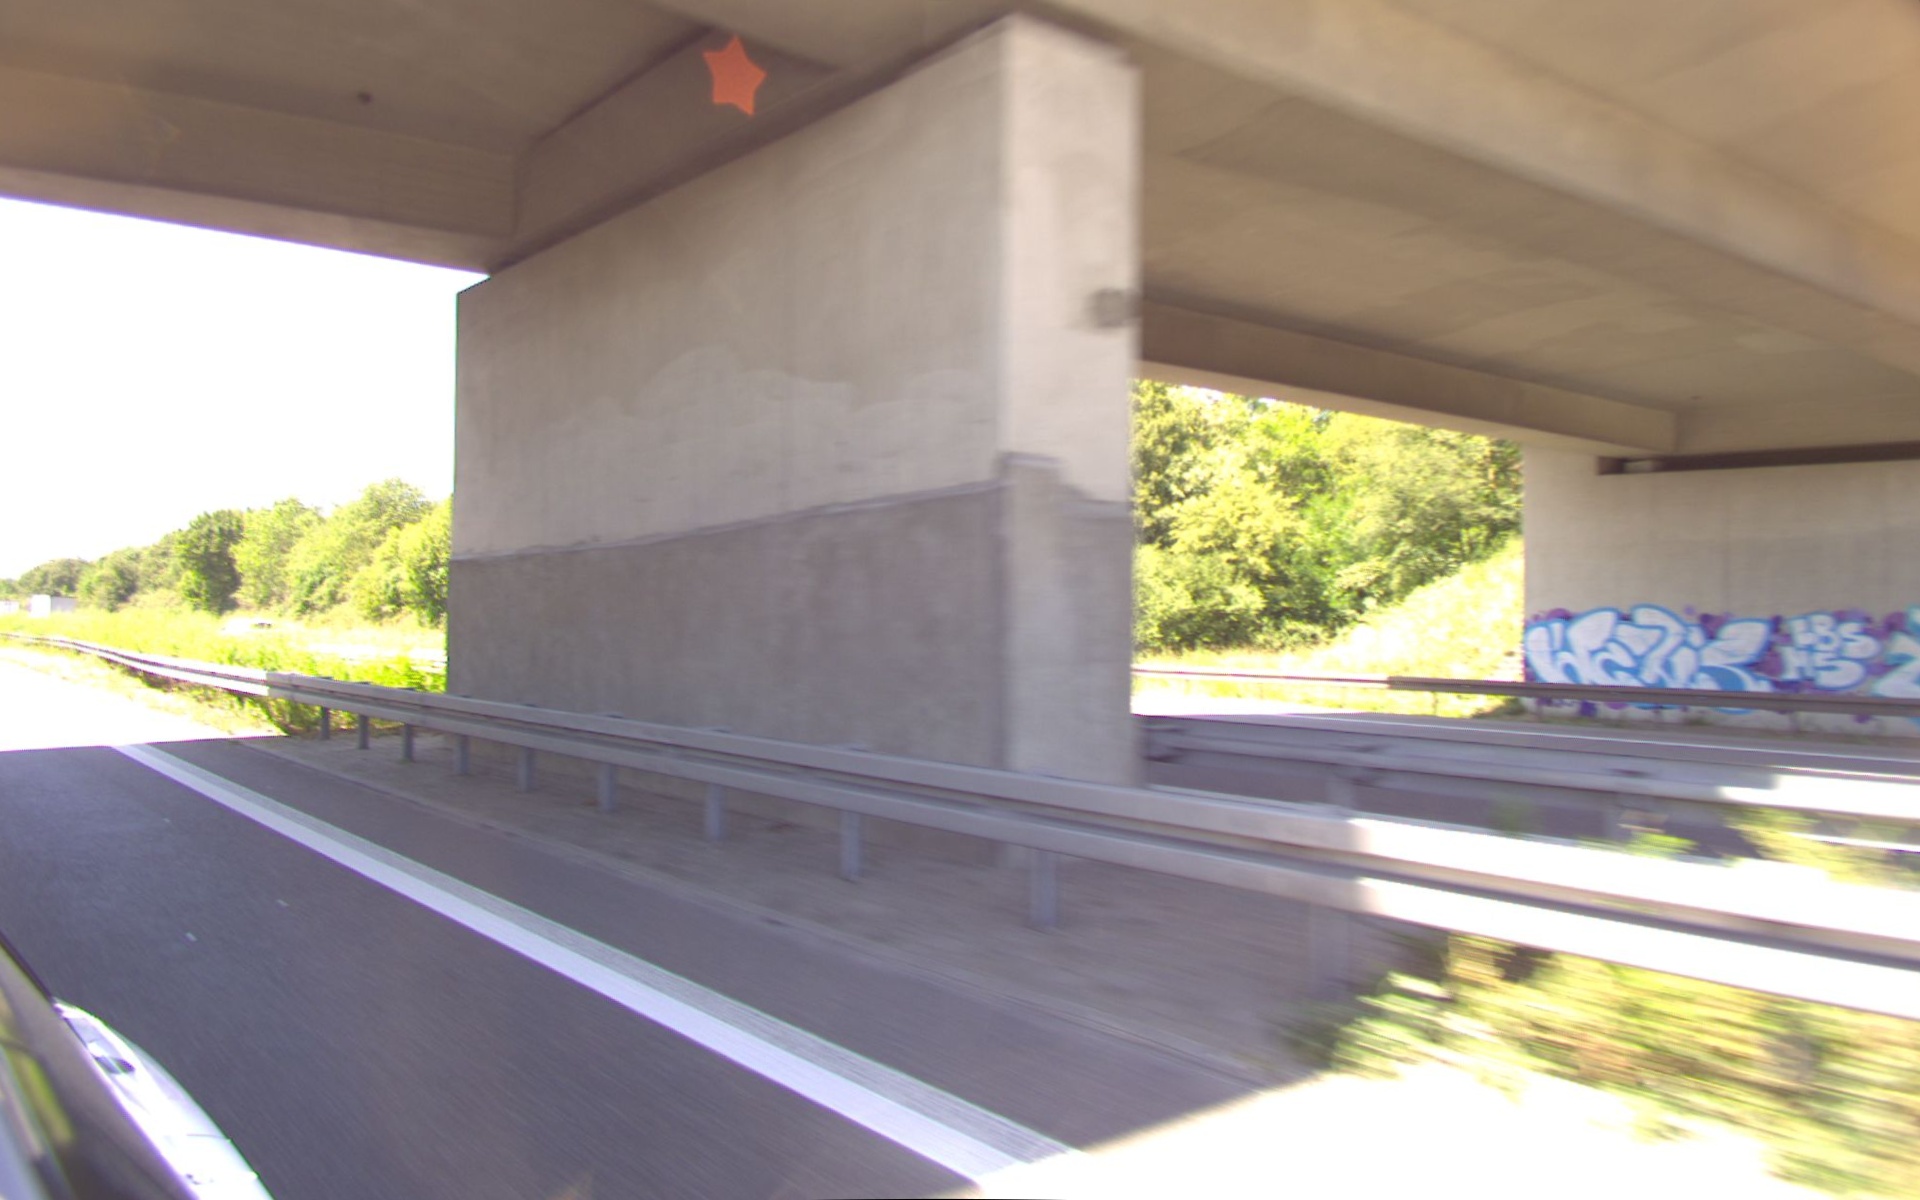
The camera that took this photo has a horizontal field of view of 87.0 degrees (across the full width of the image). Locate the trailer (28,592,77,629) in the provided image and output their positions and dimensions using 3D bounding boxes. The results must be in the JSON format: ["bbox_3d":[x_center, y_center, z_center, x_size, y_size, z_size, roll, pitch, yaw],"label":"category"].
[{"bbox_3d":[-110.865,1.304,123.540,14.478,4.280,3.110,-1,0,43],"label":"trailer"}]

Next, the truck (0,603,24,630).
[{"bbox_3d":[-148.987,2.593,158.306,5.942,4.180,3.160,-1,0,42],"label":"truck"}]

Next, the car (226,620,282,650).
[{"bbox_3d":[-33.364,1.635,47.789,3.584,1.261,1.380,-1,1,42],"label":"car"}]
